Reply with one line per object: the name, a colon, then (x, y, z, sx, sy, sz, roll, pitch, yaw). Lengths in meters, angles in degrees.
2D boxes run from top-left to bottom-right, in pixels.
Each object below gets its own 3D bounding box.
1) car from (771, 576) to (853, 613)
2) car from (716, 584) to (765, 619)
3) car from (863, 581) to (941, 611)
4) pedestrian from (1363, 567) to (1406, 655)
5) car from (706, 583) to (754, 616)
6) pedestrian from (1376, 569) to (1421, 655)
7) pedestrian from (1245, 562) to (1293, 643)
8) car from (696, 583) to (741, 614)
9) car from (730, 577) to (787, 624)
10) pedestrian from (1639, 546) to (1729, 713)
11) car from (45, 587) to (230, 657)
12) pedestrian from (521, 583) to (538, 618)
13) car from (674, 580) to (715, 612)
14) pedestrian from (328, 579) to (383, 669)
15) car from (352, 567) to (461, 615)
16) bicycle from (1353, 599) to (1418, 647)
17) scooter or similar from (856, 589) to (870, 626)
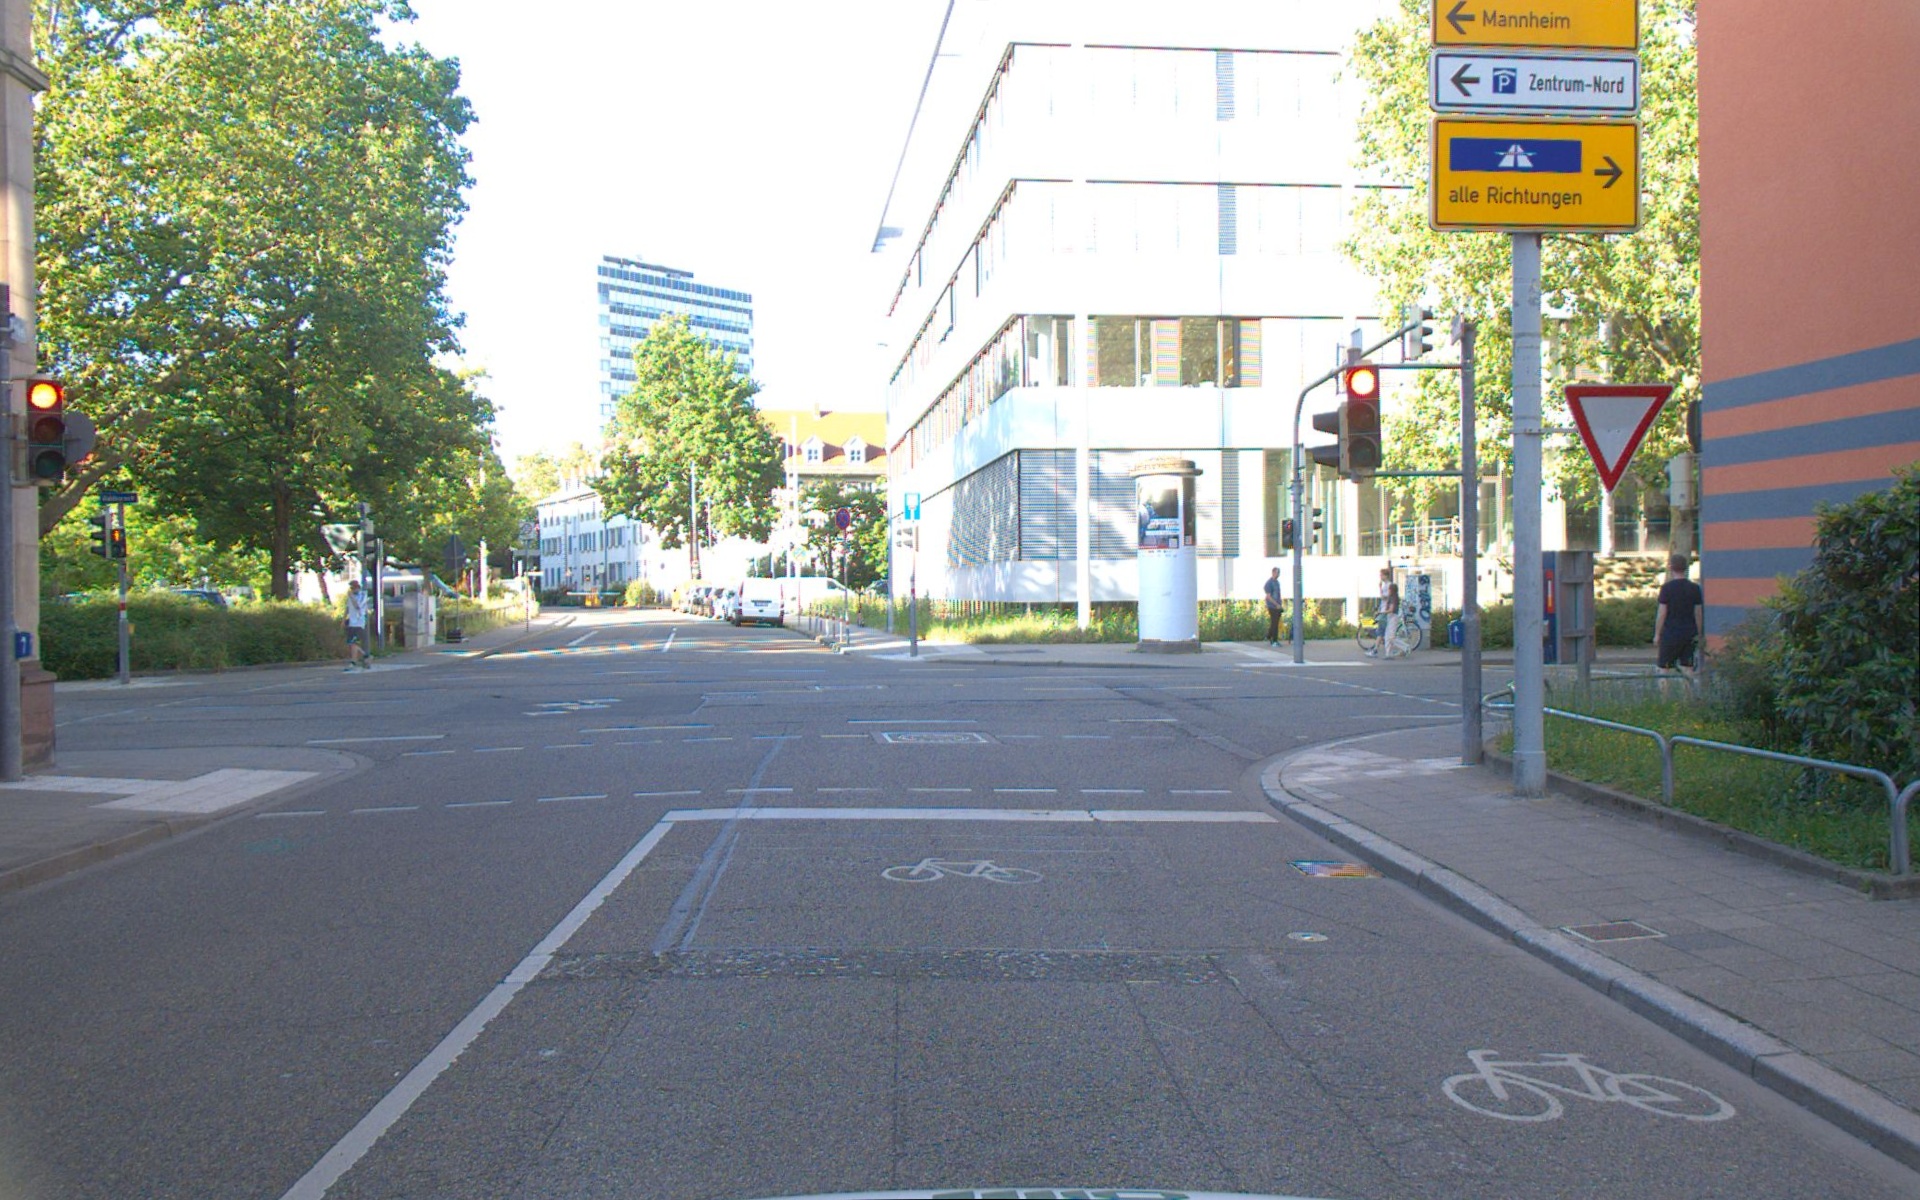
car: (-9.197, -0.355, 102.790, 4.718, 2.196, 1.990, 1, 0, -18)
car: (-10.191, 0.057, 76.646, 1.958, 1.525, 4.639, 1, 0, -11)
car: (-3.672, -0.241, 104.717, 4.563, 1.755, 1.991, 1, 0, -17)
pedestrian: (8.958, 0.226, 34.923, 0.749, 1.826, 0.648, 1, -1, 2)
car: (-11.304, -0.011, 81.077, 1.959, 1.525, 4.272, 1, 0, -13)
pedestrian: (9.062, 0.242, 34.192, 0.749, 1.749, 0.648, 1, -1, 2)
pedestrian: (7.151, 0.056, 38.245, 0.896, 1.847, 0.761, 1, -1, 25)
car: (-12.548, -0.053, 85.782, 1.959, 1.525, 4.637, 1, 0, -13)
car: (-7.912, 0.015, 64.696, 1.957, 1.755, 4.641, 1, 0, -10)
pedestrian: (8.187, 0.324, 18.712, 0.713, 1.842, 0.691, 1, -1, -42)
car: (-18.362, 0.490, 37.057, 3.347, 1.483, 1.646, 1, 0, -11)
pedestrian: (-19.711, 0.024, 75.732, 0.688, 1.614, 0.634, 1, -1, -16)
car: (-15.380, -0.214, 95.598, 1.960, 1.755, 4.635, 1, 0, -14)
pedestrian: (-12.948, 0.509, 35.417, 0.907, 1.901, 0.733, 1, -1, -36)
car: (-24.959, -0.386, 74.674, 4.363, 2.049, 1.995, 1, 0, -10)
bicycle: (9.328, 0.507, 36.276, 0.376, 1.026, 1.410, -1, 0, -42)
scooter or similar: (-3.424, 0.266, 58.229, 0.429, 1.278, 1.418, -1, 0, -5)
